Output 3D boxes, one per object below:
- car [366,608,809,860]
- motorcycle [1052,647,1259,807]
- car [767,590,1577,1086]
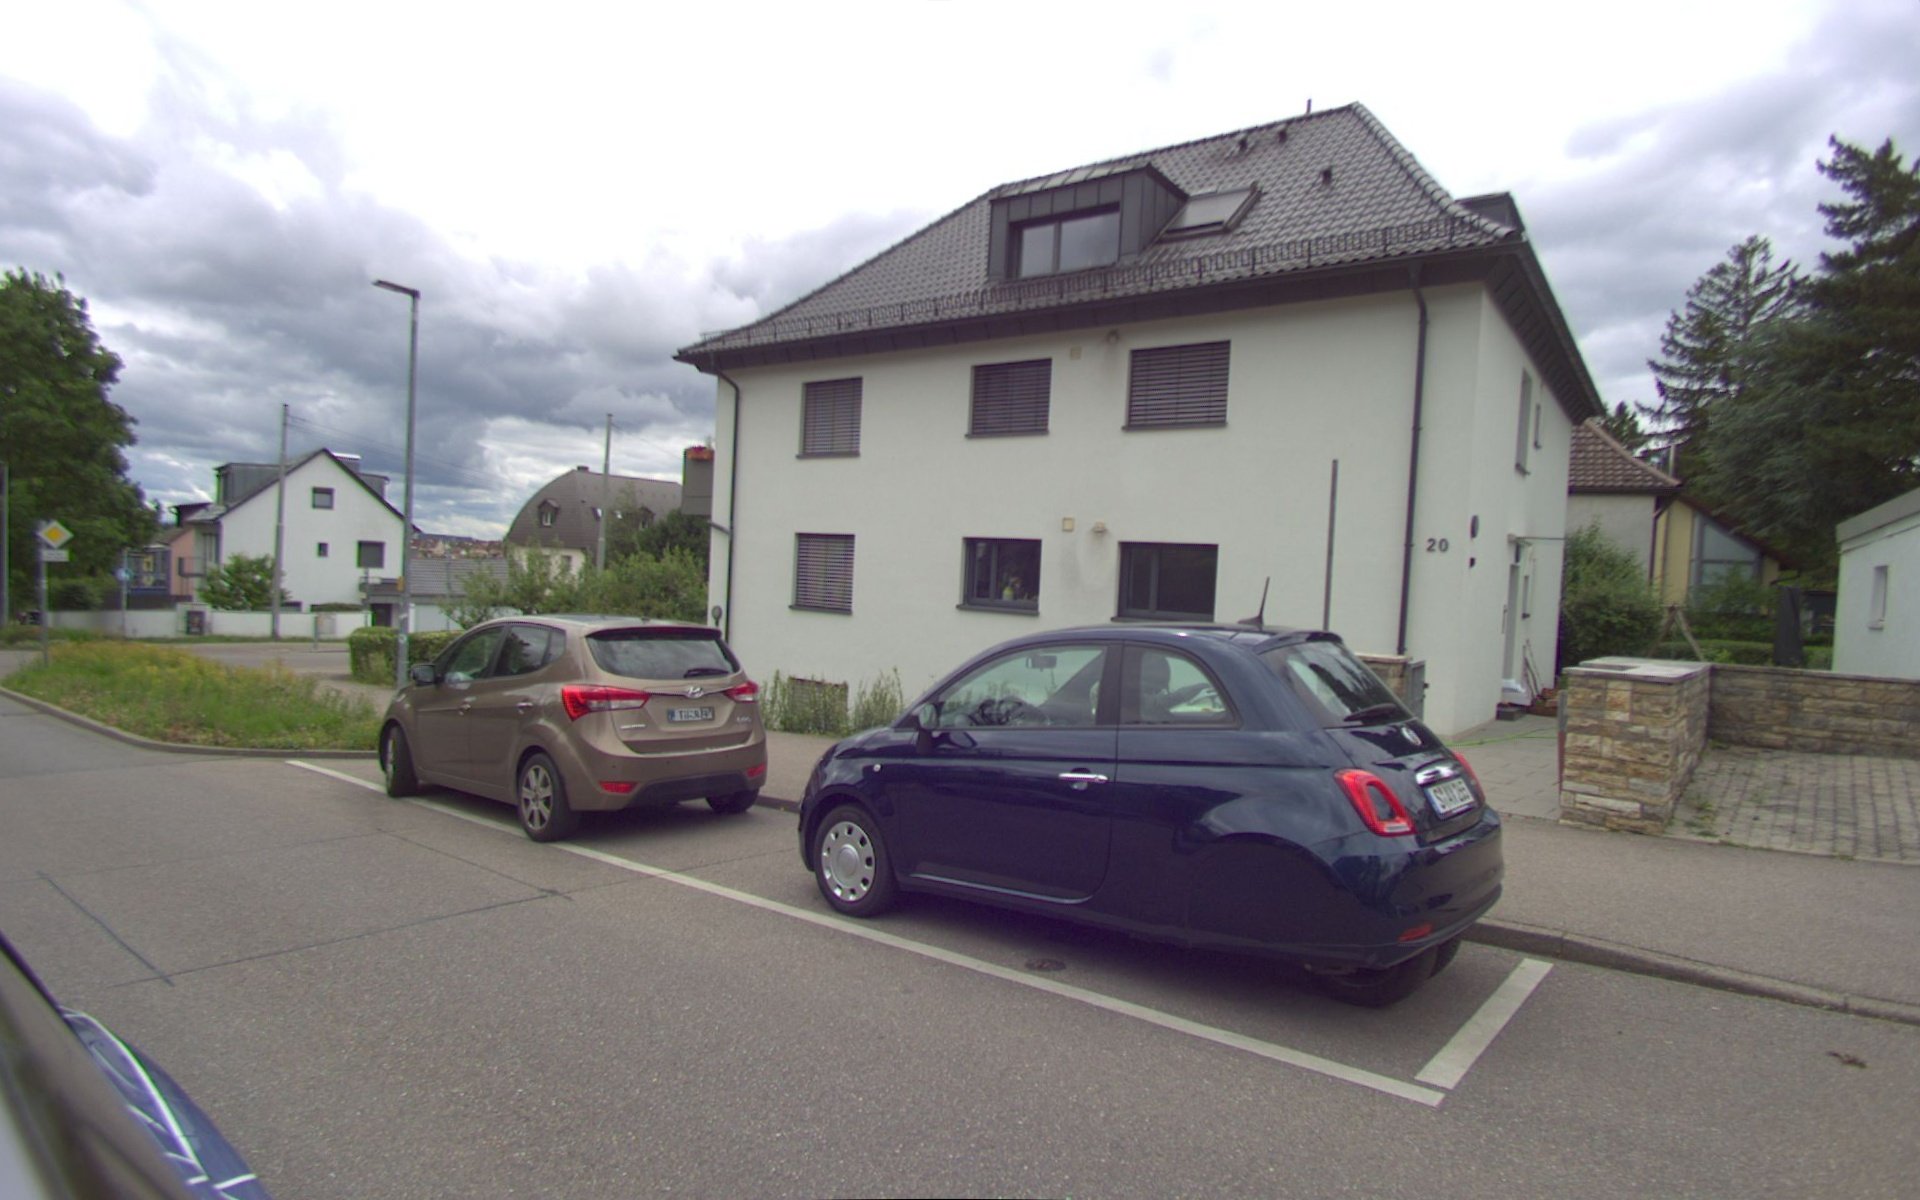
[{"bbox_3d":[-3.222,0.888,8.424,3.870,1.597,1.858,-1,-2,42],"label":"car"},{"bbox_3d":[1.629,1.029,8.719,0.424,1.169,1.865,2,-1,-41],"label":"motorcycle"},{"bbox_3d":[0.868,0.781,5.048,3.506,1.548,1.858,-1,-2,42],"label":"car"}]
